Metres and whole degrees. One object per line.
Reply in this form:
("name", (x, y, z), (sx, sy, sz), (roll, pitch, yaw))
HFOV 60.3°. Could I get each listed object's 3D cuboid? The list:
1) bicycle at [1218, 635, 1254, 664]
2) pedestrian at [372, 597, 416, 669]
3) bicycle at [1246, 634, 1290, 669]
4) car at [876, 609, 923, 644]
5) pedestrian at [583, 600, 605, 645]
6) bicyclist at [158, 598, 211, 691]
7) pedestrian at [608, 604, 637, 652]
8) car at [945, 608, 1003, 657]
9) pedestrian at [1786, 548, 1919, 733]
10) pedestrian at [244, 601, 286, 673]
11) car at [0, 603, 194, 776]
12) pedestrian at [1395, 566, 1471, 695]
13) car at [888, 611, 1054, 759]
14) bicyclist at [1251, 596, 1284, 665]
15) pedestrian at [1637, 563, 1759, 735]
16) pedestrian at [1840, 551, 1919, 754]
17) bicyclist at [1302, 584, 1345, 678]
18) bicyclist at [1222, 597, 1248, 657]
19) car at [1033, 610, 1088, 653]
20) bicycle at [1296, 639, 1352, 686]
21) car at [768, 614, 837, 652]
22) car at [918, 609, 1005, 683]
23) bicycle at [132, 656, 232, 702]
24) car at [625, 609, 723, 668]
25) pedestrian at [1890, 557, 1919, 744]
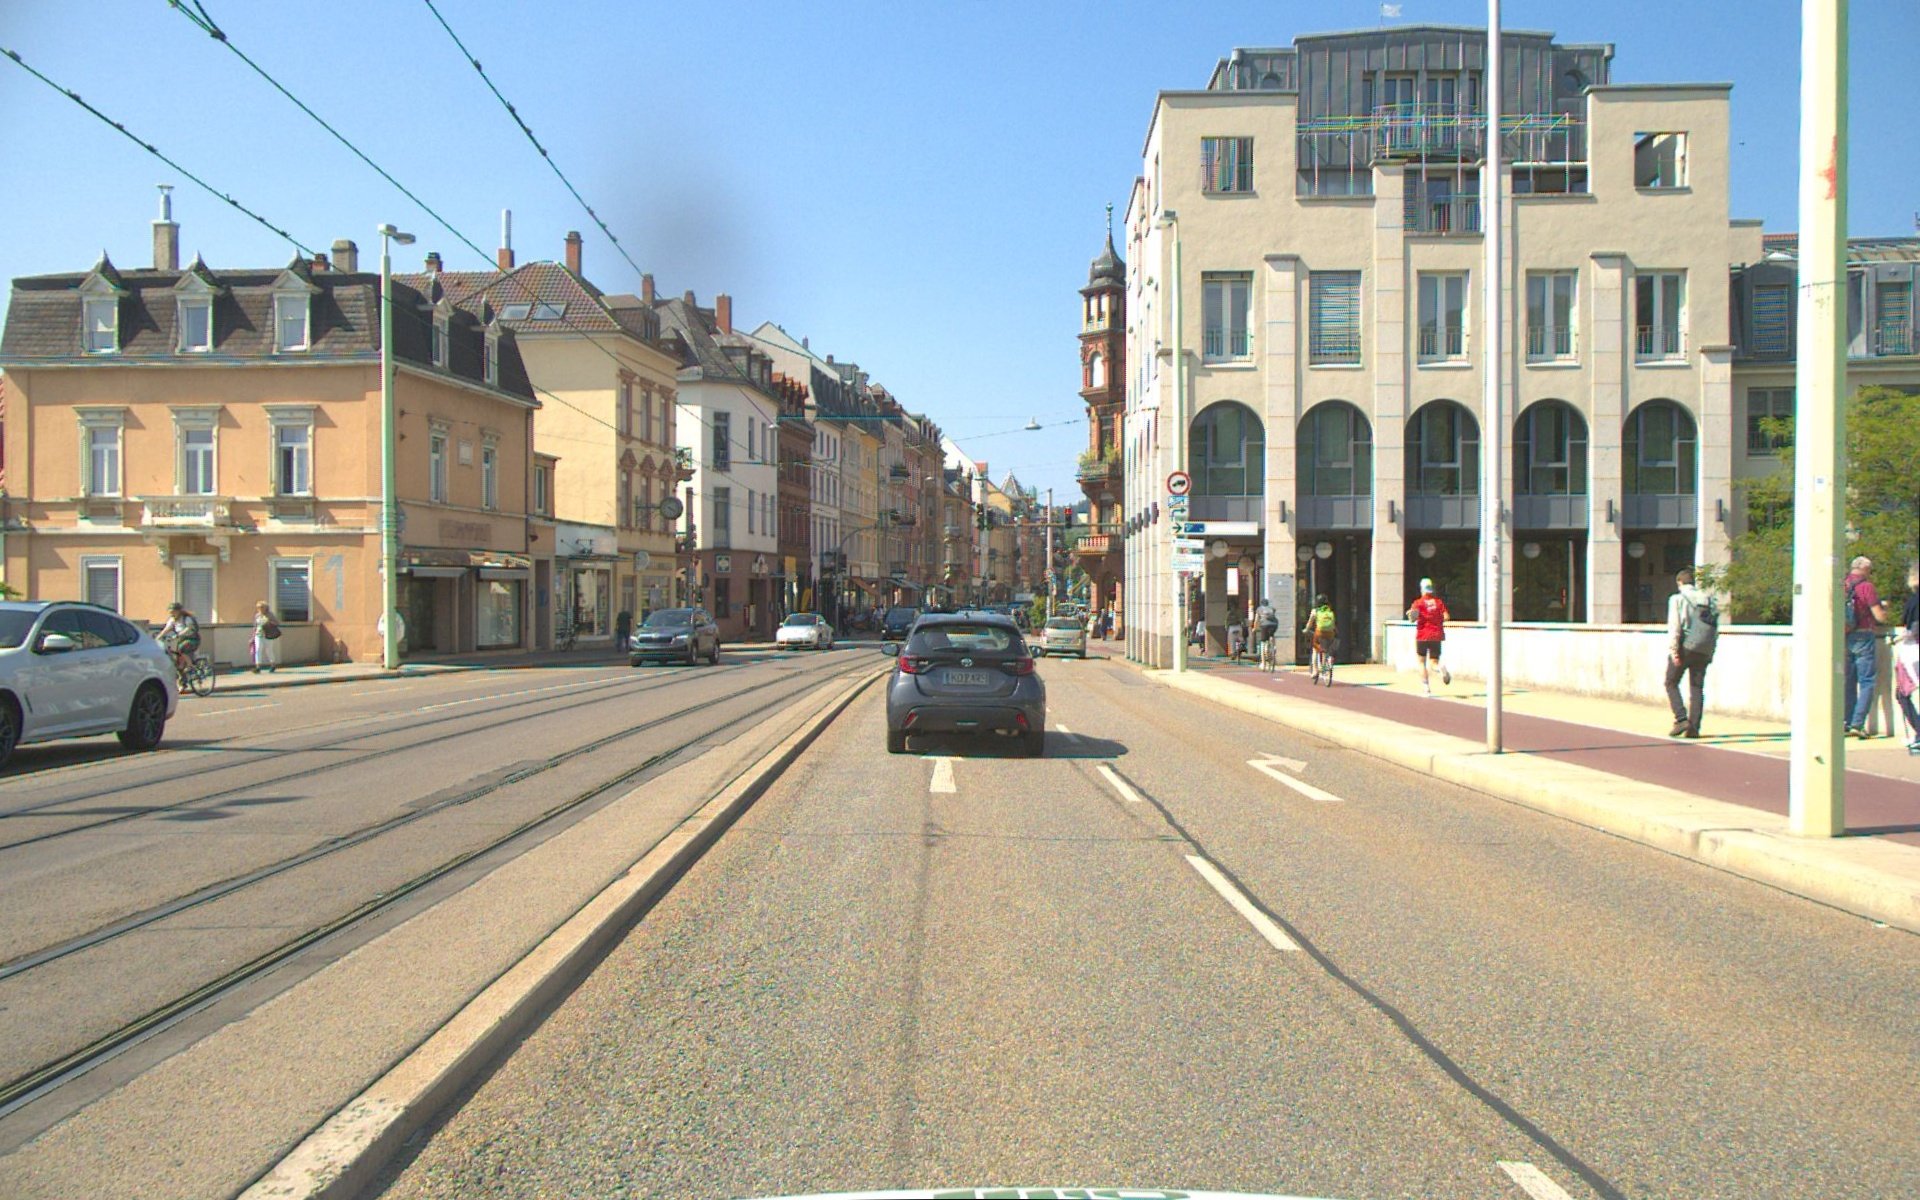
("bicycle", (7.795, 1.385, 46.806), (0.582, 0.779, 1.865), (-1, 0, -3))
("pedestrian", (-14.634, 0.858, 42.792), (0.721, 1.797, 0.787), (4, -1, 0))
("bicycle", (7.207, 1.196, 38.760), (0.582, 0.779, 1.830), (-1, 0, -3))
("car", (-3.213, 1.405, 88.897), (1.951, 1.804, 4.002), (0, -1, 6))
("pedestrian", (-13.841, 0.852, 62.546), (0.636, 1.629, 0.566), (4, 1, 0))
("bicyclist", (-14.316, 0.818, 30.534), (0.614, 1.679, 0.622), (2, 0, 8))
("pedestrian", (-12.352, 1.027, 60.530), (0.746, 1.682, 0.712), (4, -1, 8))
("car", (0.451, 1.076, 56.466), (1.859, 1.557, 3.999), (1, 0, -1))
("pedestrian", (9.210, 0.405, 17.011), (0.992, 1.834, 0.741), (-2, -1, -3))
("pedestrian", (-16.369, 0.869, 38.960), (0.636, 1.629, 0.566), (4, 1, 0))
("car", (-9.929, 0.853, 16.943), (1.952, 1.614, 4.652), (0, -1, 1))
("pedestrian", (7.365, 0.471, 25.801), (0.794, 1.958, 1.127), (-1, -1, -1))
("car", (0.083, 0.894, 18.970), (1.685, 1.499, 3.657), (1, 0, -1))
("bicyclist", (7.202, 0.702, 38.756), (0.575, 1.586, 0.701), (-1, -1, -3))
("pedestrian", (7.795, 0.504, 17.515), (0.739, 1.748, 1.073), (-2, -1, -1))
("pedestrian", (8.820, 0.464, 15.316), (0.724, 1.808, 1.015), (-2, -1, -3))
("bicyclist", (6.651, 0.566, 30.311), (0.592, 1.679, 0.702), (-1, -1, 0))
("bicyclist", (7.785, 0.771, 46.865), (0.575, 1.679, 0.701), (-1, -1, -3))
("car", (3.701, 1.148, 61.308), (1.671, 1.491, 4.324), (1, 0, -1))
("bicycle", (6.668, 1.136, 30.360), (0.581, 0.779, 1.866), (-1, 0, -1))
("car", (-6.242, 1.312, 66.051), (1.951, 1.457, 4.002), (1, -1, 6))
("car", (-0.006, 1.010, 37.826), (1.859, 1.557, 3.999), (1, 0, -1))
("bicycle", (-14.328, 1.437, 30.526), (0.607, 0.728, 2.046), (2, 0, 8))
("car", (-7.963, 1.043, 46.326), (1.756, 1.572, 3.923), (0, -1, 5))
("pedestrian", (9.473, 0.468, 15.617), (0.724, 1.777, 1.015), (-2, -1, -4))
